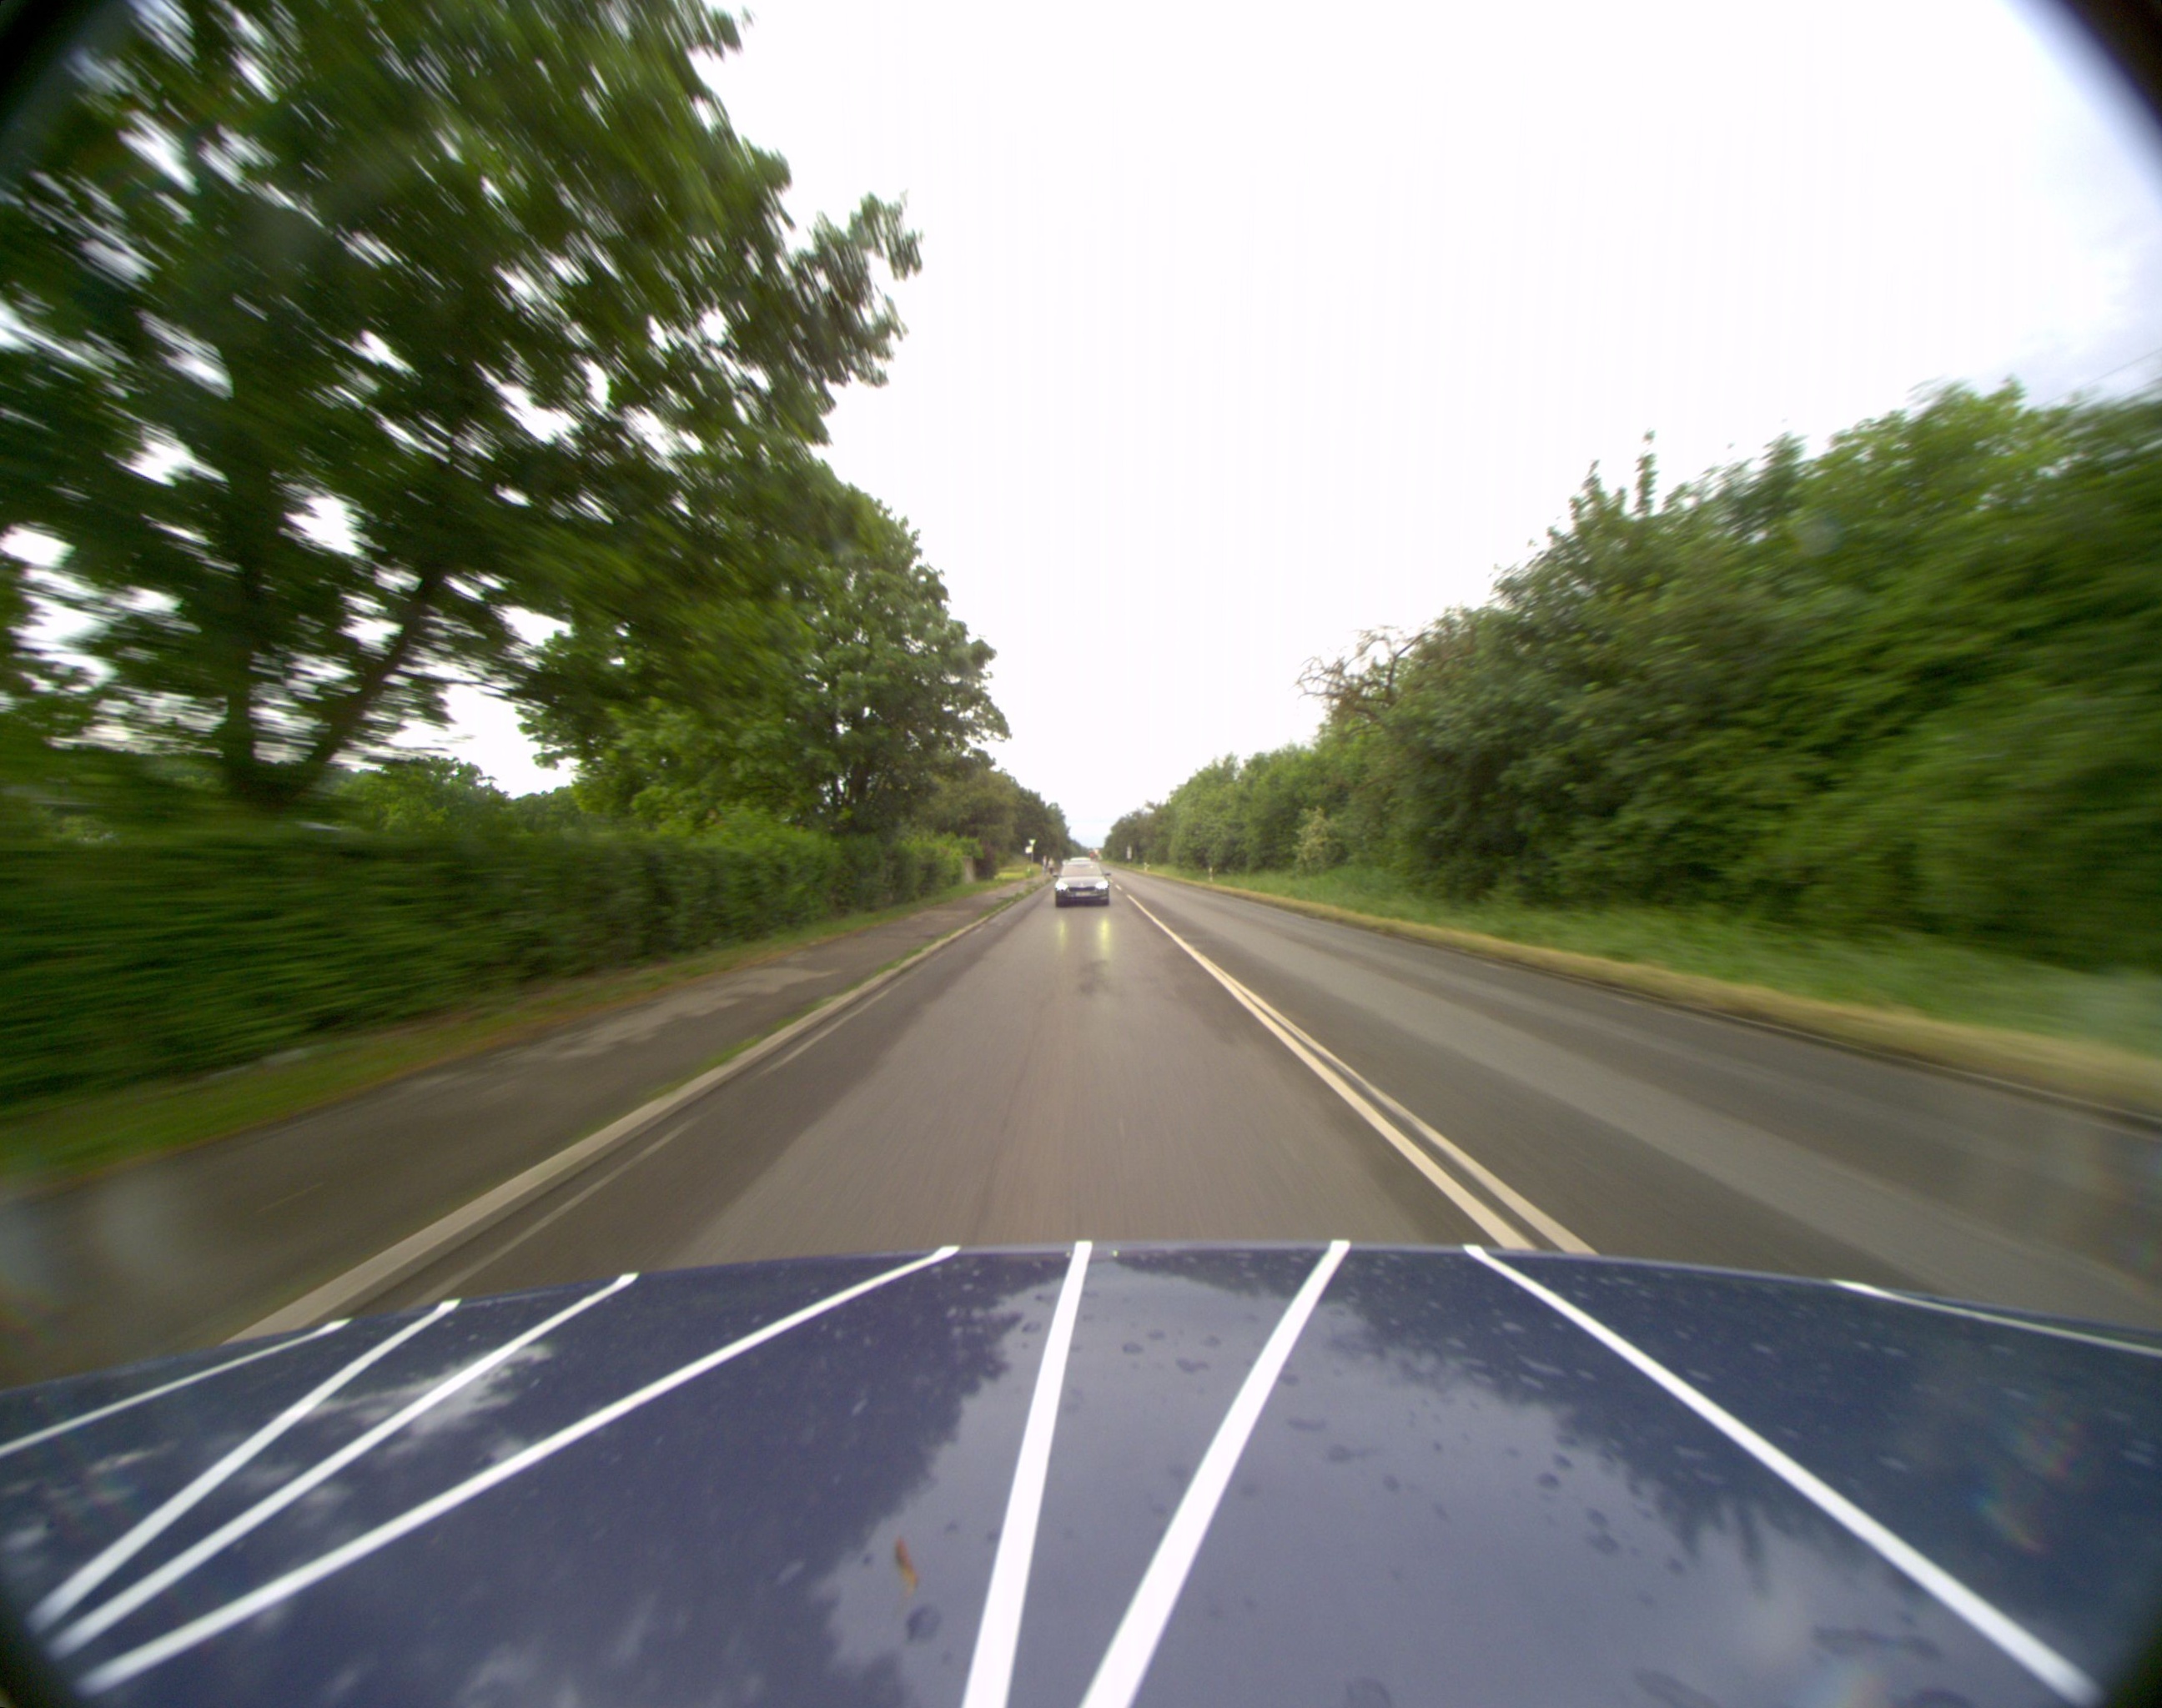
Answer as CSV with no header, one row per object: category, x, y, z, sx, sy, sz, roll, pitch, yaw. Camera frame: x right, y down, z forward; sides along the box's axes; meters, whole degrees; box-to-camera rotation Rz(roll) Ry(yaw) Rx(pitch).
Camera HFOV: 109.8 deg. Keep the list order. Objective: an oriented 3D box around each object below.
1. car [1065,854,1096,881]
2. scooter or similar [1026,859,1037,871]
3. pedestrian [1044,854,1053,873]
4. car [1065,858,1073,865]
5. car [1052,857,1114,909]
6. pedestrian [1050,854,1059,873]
car,-0.034,0.888,51.093,1.915,1.690,3.913,-2,0,0
scooter or similar,-5.126,1.110,78.486,1.323,1.199,0.375,0,1,41
pedestrian,-3.019,0.871,70.030,0.696,1.817,0.800,0,1,-16
car,-2.633,1.742,168.224,1.749,1.459,4.220,1,0,0
car,0.080,0.927,26.470,1.915,1.543,4.354,-2,0,0
pedestrian,-2.522,0.892,71.178,0.663,1.768,0.759,0,1,-16
